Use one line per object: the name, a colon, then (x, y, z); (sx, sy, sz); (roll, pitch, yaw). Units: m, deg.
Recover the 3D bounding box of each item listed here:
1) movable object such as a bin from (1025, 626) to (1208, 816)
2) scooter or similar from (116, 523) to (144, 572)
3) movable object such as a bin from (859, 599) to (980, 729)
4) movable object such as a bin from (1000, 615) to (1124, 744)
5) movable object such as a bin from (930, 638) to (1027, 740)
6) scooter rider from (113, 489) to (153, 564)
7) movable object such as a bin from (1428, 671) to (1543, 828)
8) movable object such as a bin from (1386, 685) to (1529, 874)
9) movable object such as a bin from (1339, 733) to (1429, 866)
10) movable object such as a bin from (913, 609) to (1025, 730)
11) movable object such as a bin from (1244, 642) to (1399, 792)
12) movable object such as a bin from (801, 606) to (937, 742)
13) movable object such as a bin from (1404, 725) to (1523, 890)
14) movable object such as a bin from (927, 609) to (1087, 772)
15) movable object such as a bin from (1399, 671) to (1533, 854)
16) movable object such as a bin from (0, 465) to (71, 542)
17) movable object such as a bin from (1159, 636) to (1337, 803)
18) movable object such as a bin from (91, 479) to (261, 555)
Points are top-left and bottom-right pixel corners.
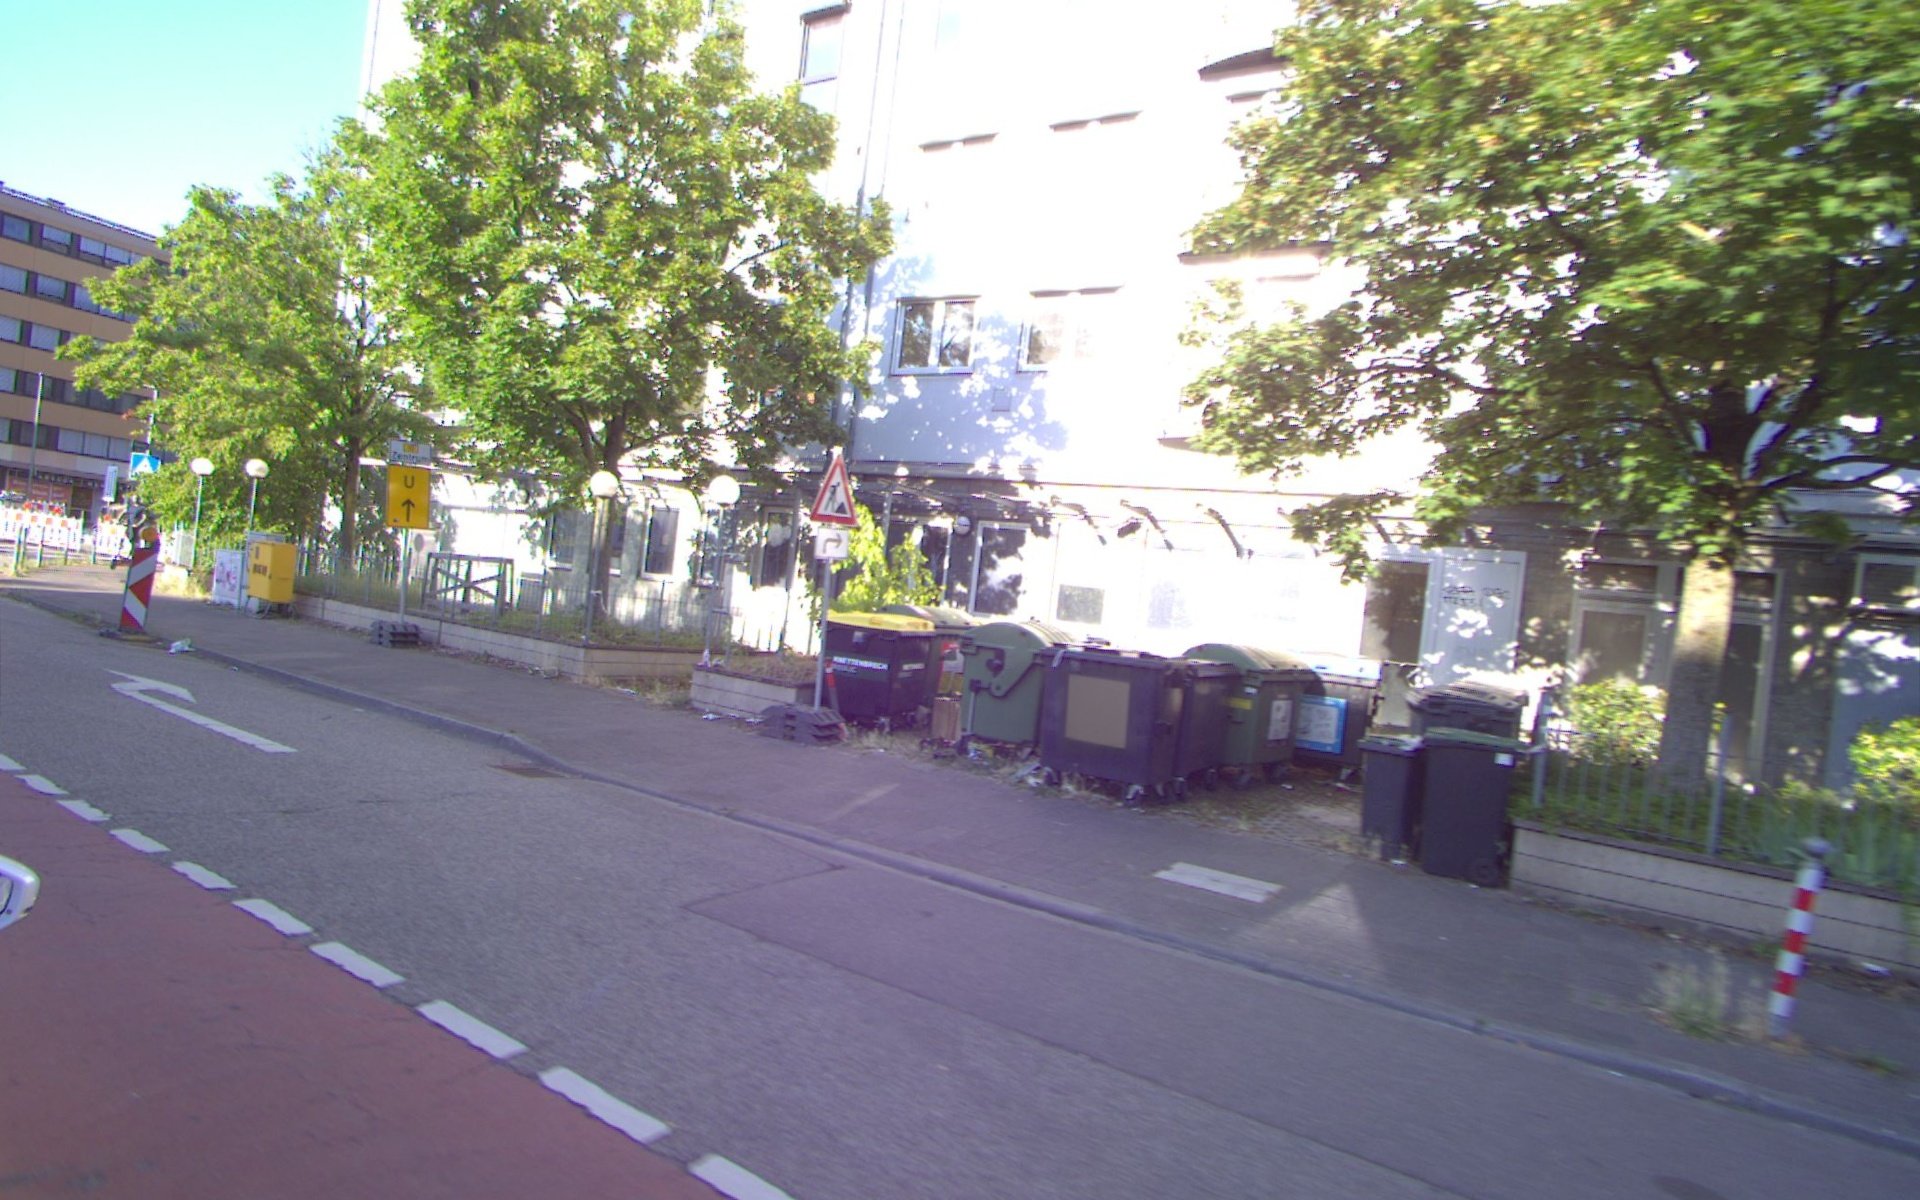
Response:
movable object such as a bin: (1.455, 1.069, 9.266); (1.234, 1.525, 1.094); (4, -2, 33)
scooter or similar: (-21.228, -1.349, 25.734); (0.328, 1.209, 1.239); (6, 0, -34)
movable object such as a bin: (-0.509, 0.816, 12.875); (0.941, 1.503, 1.104); (7, 0, 32)
movable object such as a bin: (1.362, 1.037, 13.259); (0.999, 1.503, 1.328); (7, 0, 32)
movable object such as a bin: (0.246, 1.098, 12.481); (0.641, 1.142, 1.024); (7, 0, 33)
scooter rider: (-21.165, -1.872, 25.753); (0.611, 1.811, 0.482); (7, 0, -36)
movable object such as a bin: (5.560, 1.514, 10.609); (0.850, 1.427, 1.407); (7, 0, 31)
movable object such as a bin: (4.057, 1.408, 8.184); (0.850, 1.325, 0.778); (7, 0, 31)
movable object such as a bin: (3.321, 1.540, 7.878); (0.483, 0.918, 0.393); (7, 0, 35)
movable object such as a bin: (0.132, 0.957, 13.870); (0.941, 1.503, 1.127); (7, 0, 33)
movable object such as a bin: (4.173, 1.299, 11.576); (1.259, 1.439, 1.195); (8, 2, 35)
movable object such as a bin: (-1.017, 0.831, 11.595); (1.035, 1.360, 1.218); (7, 0, 17)
movable object such as a bin: (3.756, 1.510, 7.494); (0.606, 1.059, 0.619); (7, 0, 35)
movable object such as a bin: (0.539, 0.941, 10.840); (1.188, 1.503, 1.330); (7, 0, 23)
movable object such as a bin: (4.708, 1.435, 9.298); (0.850, 1.427, 1.610); (7, 0, 31)
movable object such as a bin: (-33.721, -3.494, 35.286); (1.504, 2.412, 3.333); (7, -1, 32)
movable object such as a bin: (3.025, 1.200, 10.537); (1.259, 1.452, 1.307); (8, 2, 37)
movable object such as a bin: (-35.215, -3.660, 45.377); (2.505, 2.520, 5.359); (7, -1, 30)
